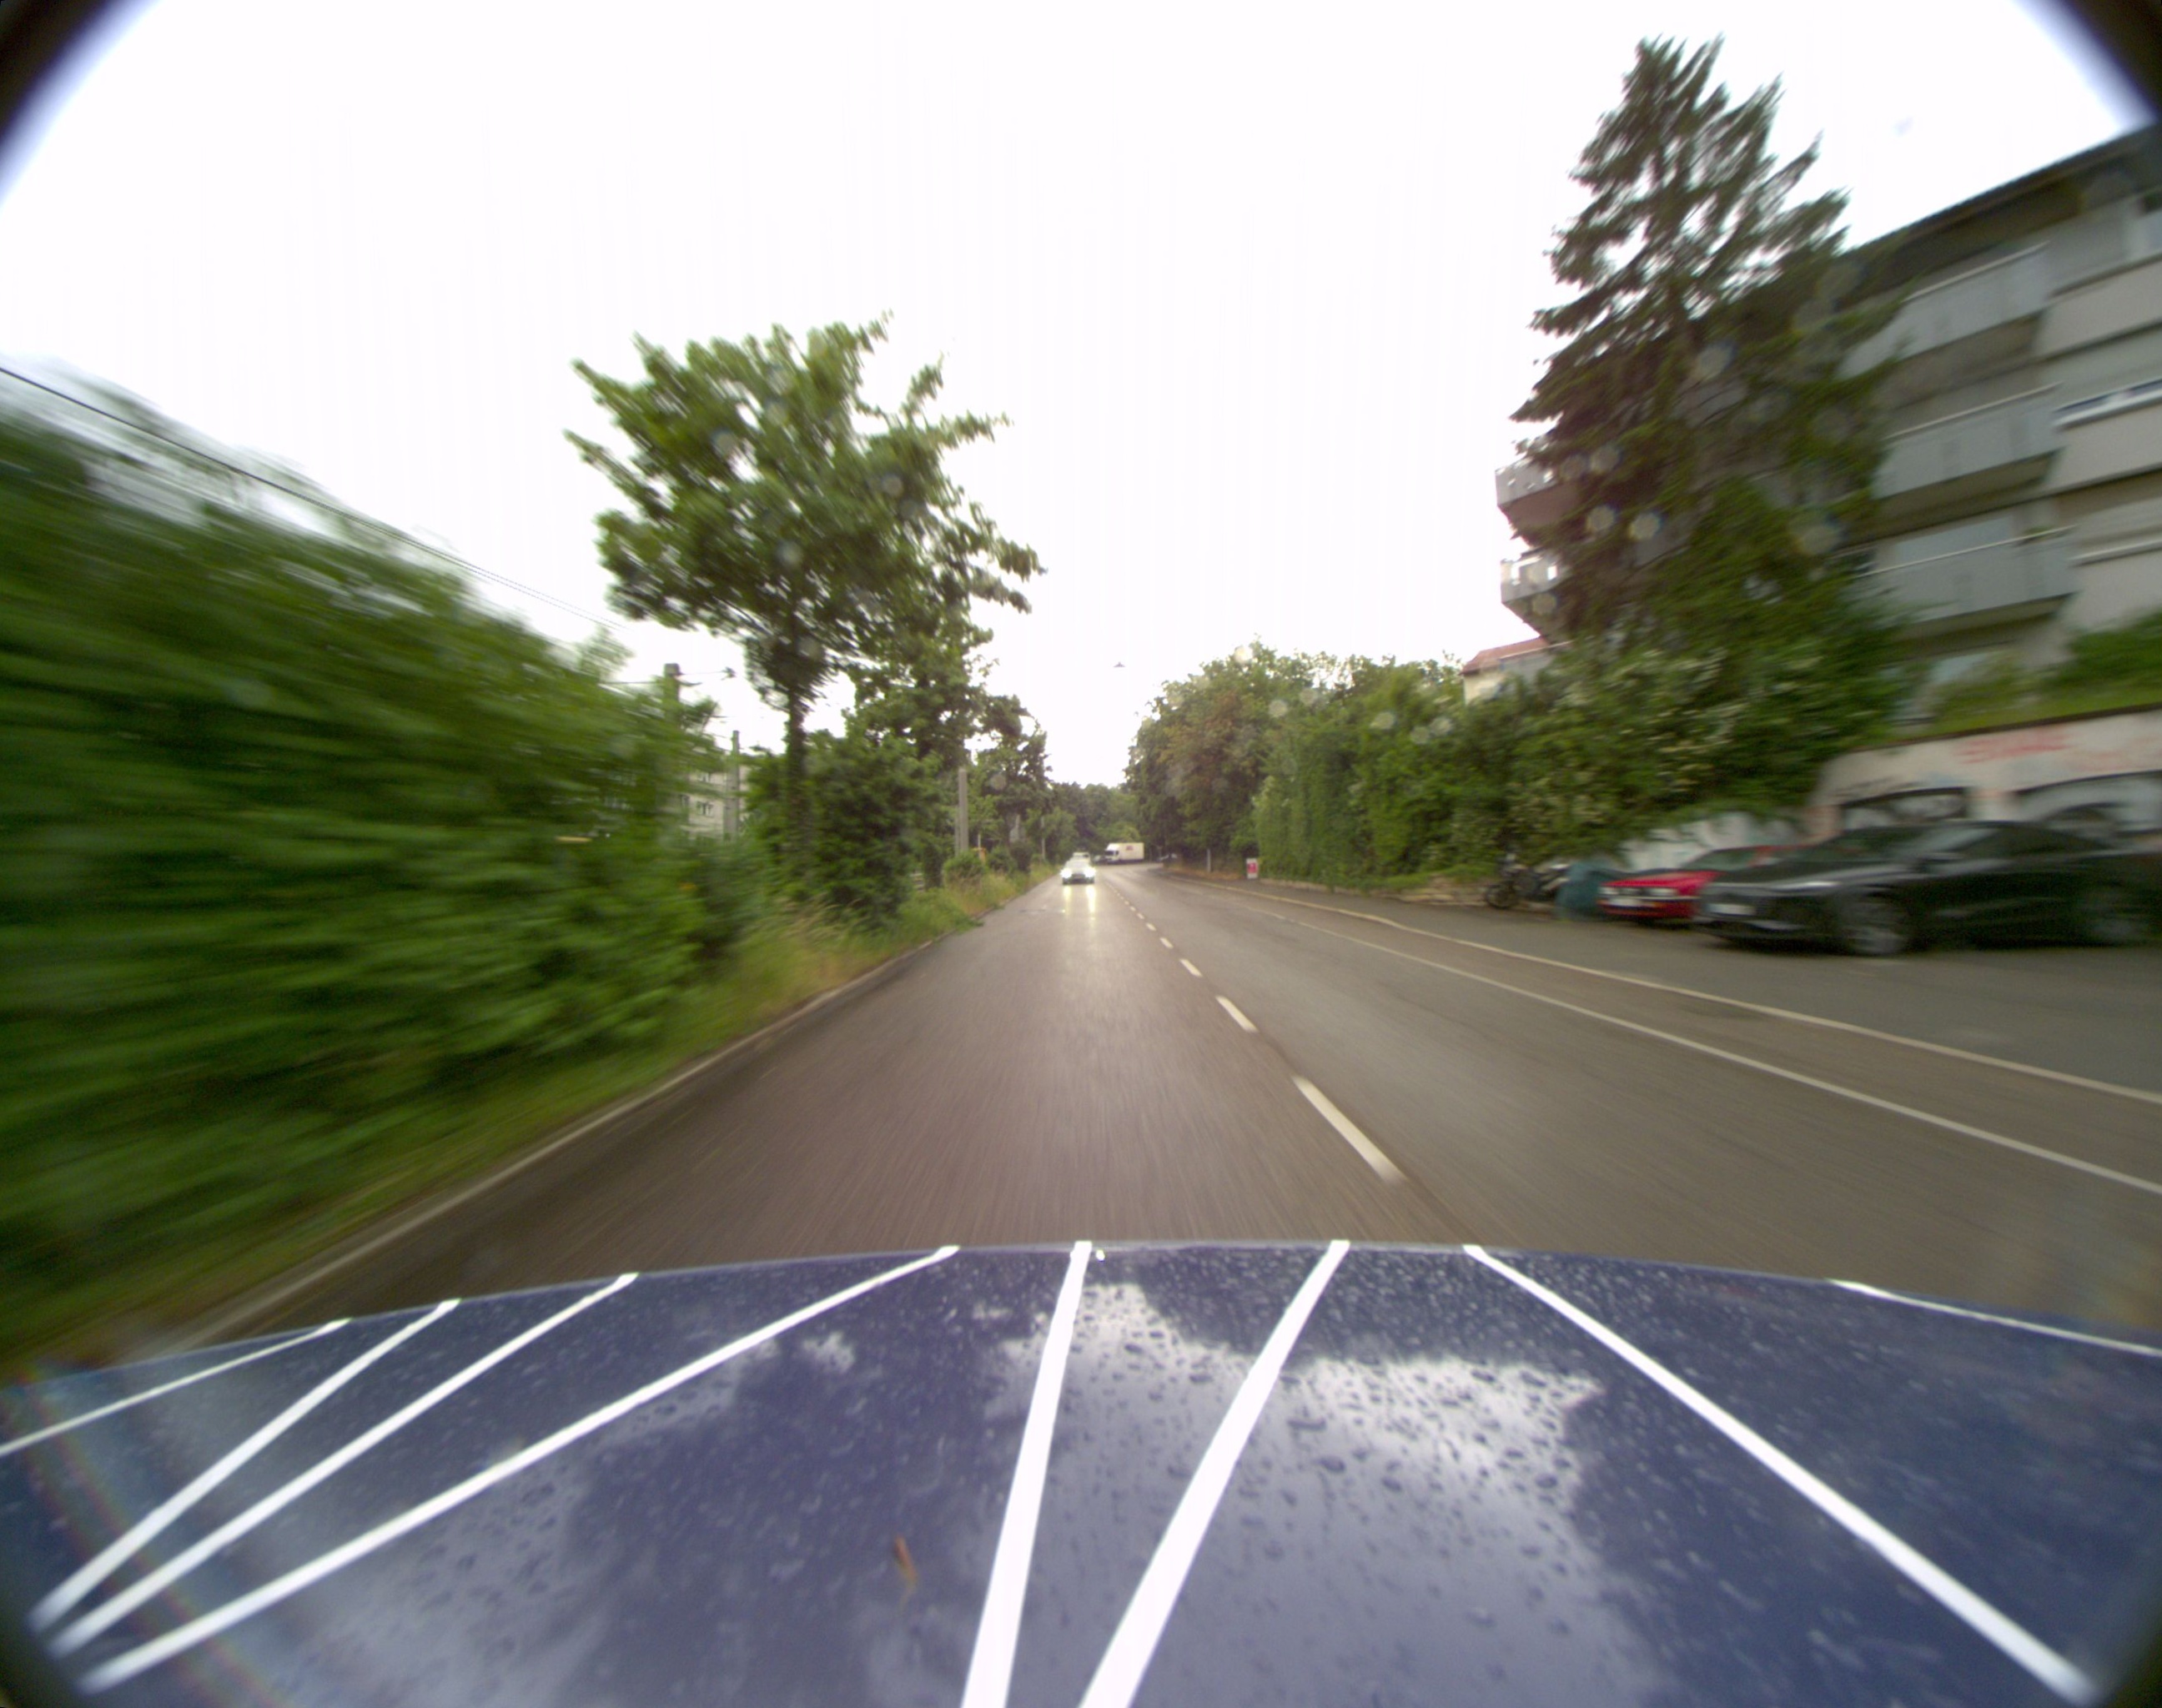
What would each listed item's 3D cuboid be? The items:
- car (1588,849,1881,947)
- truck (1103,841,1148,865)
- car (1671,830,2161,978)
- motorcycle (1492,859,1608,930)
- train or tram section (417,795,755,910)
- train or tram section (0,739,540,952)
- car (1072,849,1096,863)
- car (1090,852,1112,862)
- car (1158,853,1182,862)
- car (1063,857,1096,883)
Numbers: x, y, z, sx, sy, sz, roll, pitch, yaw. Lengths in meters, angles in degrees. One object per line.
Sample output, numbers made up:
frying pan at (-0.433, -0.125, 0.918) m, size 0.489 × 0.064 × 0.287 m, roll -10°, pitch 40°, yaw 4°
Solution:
car at (10.900, 0.682, 12.819) m, size 3.642 × 1.397 × 1.715 m, roll -2°, pitch 1°, yaw -6°
truck at (7.354, -0.174, 123.755) m, size 3.008 × 3.553 × 8.352 m, roll -2°, pitch 1°, yaw 38°
car at (10.660, 0.615, 9.912) m, size 4.460 × 1.592 × 1.814 m, roll -2°, pitch -1°, yaw 0°
motorcycle at (9.591, 0.772, 15.669) m, size 0.619 × 1.313 × 2.318 m, roll -2°, pitch 1°, yaw -11°
train or tram section at (-21.455, 0.024, 36.214) m, size 3.339 × 3.924 × 19.281 m, roll -2°, pitch 0°, yaw 0°
train or tram section at (-21.541, -0.077, 18.368) m, size 3.339 × 3.924 × 18.813 m, roll -2°, pitch 0°, yaw 0°
car at (0.453, 0.267, 110.163) m, size 1.878 × 2.002 × 4.698 m, roll 1°, pitch 1°, yaw 22°
car at (3.061, 0.475, 117.116) m, size 1.719 × 1.547 × 4.284 m, roll 0°, pitch 1°, yaw 27°
car at (15.499, 0.585, 131.853) m, size 4.132 × 1.435 × 1.721 m, roll -2°, pitch 0°, yaw -39°
car at (-0.084, 0.960, 47.633) m, size 1.899 × 1.530 × 4.500 m, roll -1°, pitch 0°, yaw 0°
